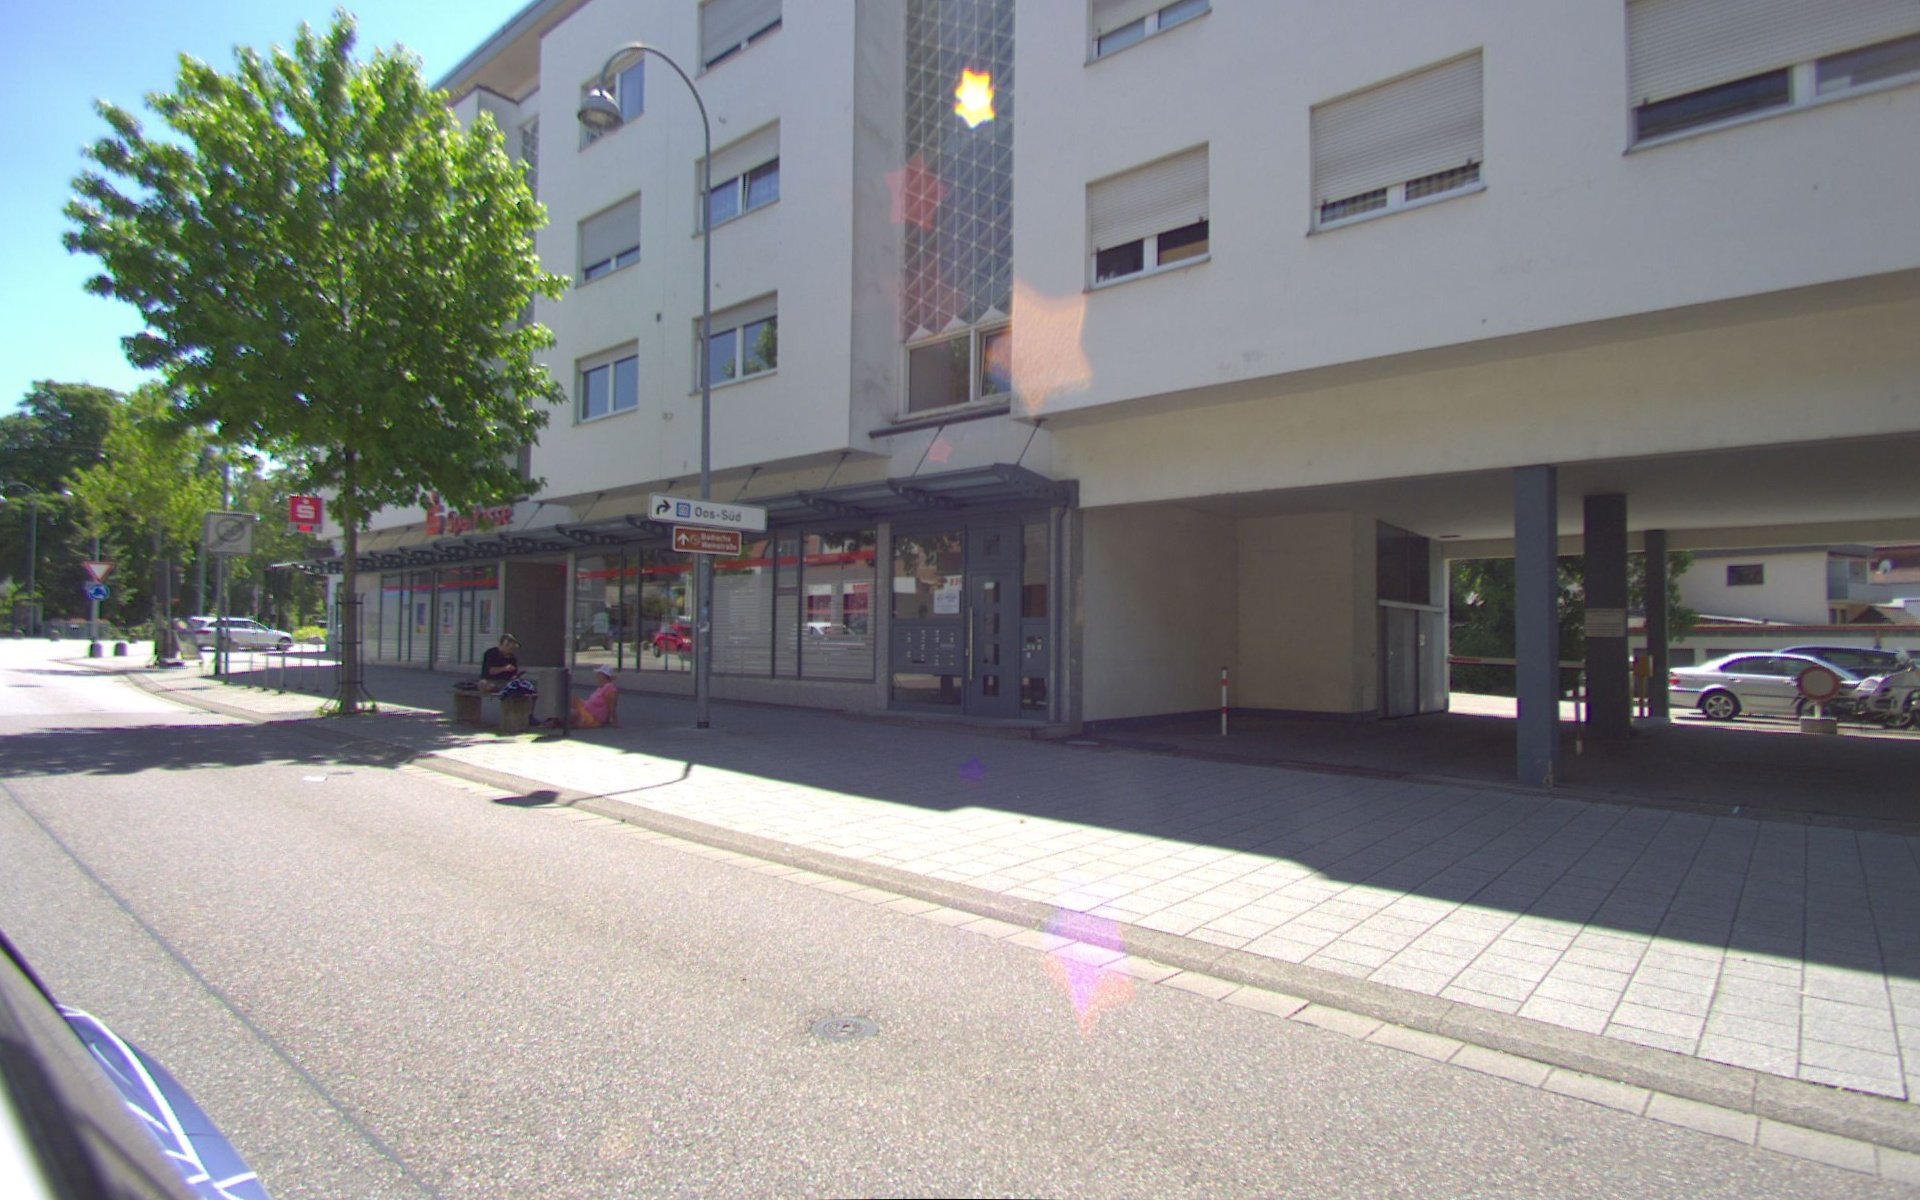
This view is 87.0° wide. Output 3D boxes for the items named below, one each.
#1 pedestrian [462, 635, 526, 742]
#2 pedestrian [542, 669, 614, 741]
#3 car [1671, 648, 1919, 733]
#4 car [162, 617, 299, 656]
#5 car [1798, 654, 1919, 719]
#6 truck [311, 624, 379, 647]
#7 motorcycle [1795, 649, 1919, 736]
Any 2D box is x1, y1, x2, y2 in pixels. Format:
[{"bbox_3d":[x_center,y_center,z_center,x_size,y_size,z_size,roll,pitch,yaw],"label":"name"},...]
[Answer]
[{"bbox_3d":[-6.235,1.167,13.541,0.560,1.382,0.668,4,-4,-40],"label":"pedestrian"},{"bbox_3d":[-5.142,1.398,13.611,0.656,0.864,0.734,4,-1,-40],"label":"pedestrian"},{"bbox_3d":[16.839,1.779,20.411,3.912,1.510,1.809,-2,-5,42],"label":"car"},{"bbox_3d":[-33.725,1.702,46.966,1.982,1.605,4.974,2,-2,15],"label":"car"},{"bbox_3d":[23.090,2.117,24.771,3.912,1.510,1.809,-2,-5,42],"label":"car"},{"bbox_3d":[-70.004,4.084,115.326,6.112,2.462,2.271,2,-5,-17],"label":"truck"},{"bbox_3d":[16.347,1.635,18.018,2.229,1.497,0.674,-3,-6,41],"label":"motorcycle"}]
